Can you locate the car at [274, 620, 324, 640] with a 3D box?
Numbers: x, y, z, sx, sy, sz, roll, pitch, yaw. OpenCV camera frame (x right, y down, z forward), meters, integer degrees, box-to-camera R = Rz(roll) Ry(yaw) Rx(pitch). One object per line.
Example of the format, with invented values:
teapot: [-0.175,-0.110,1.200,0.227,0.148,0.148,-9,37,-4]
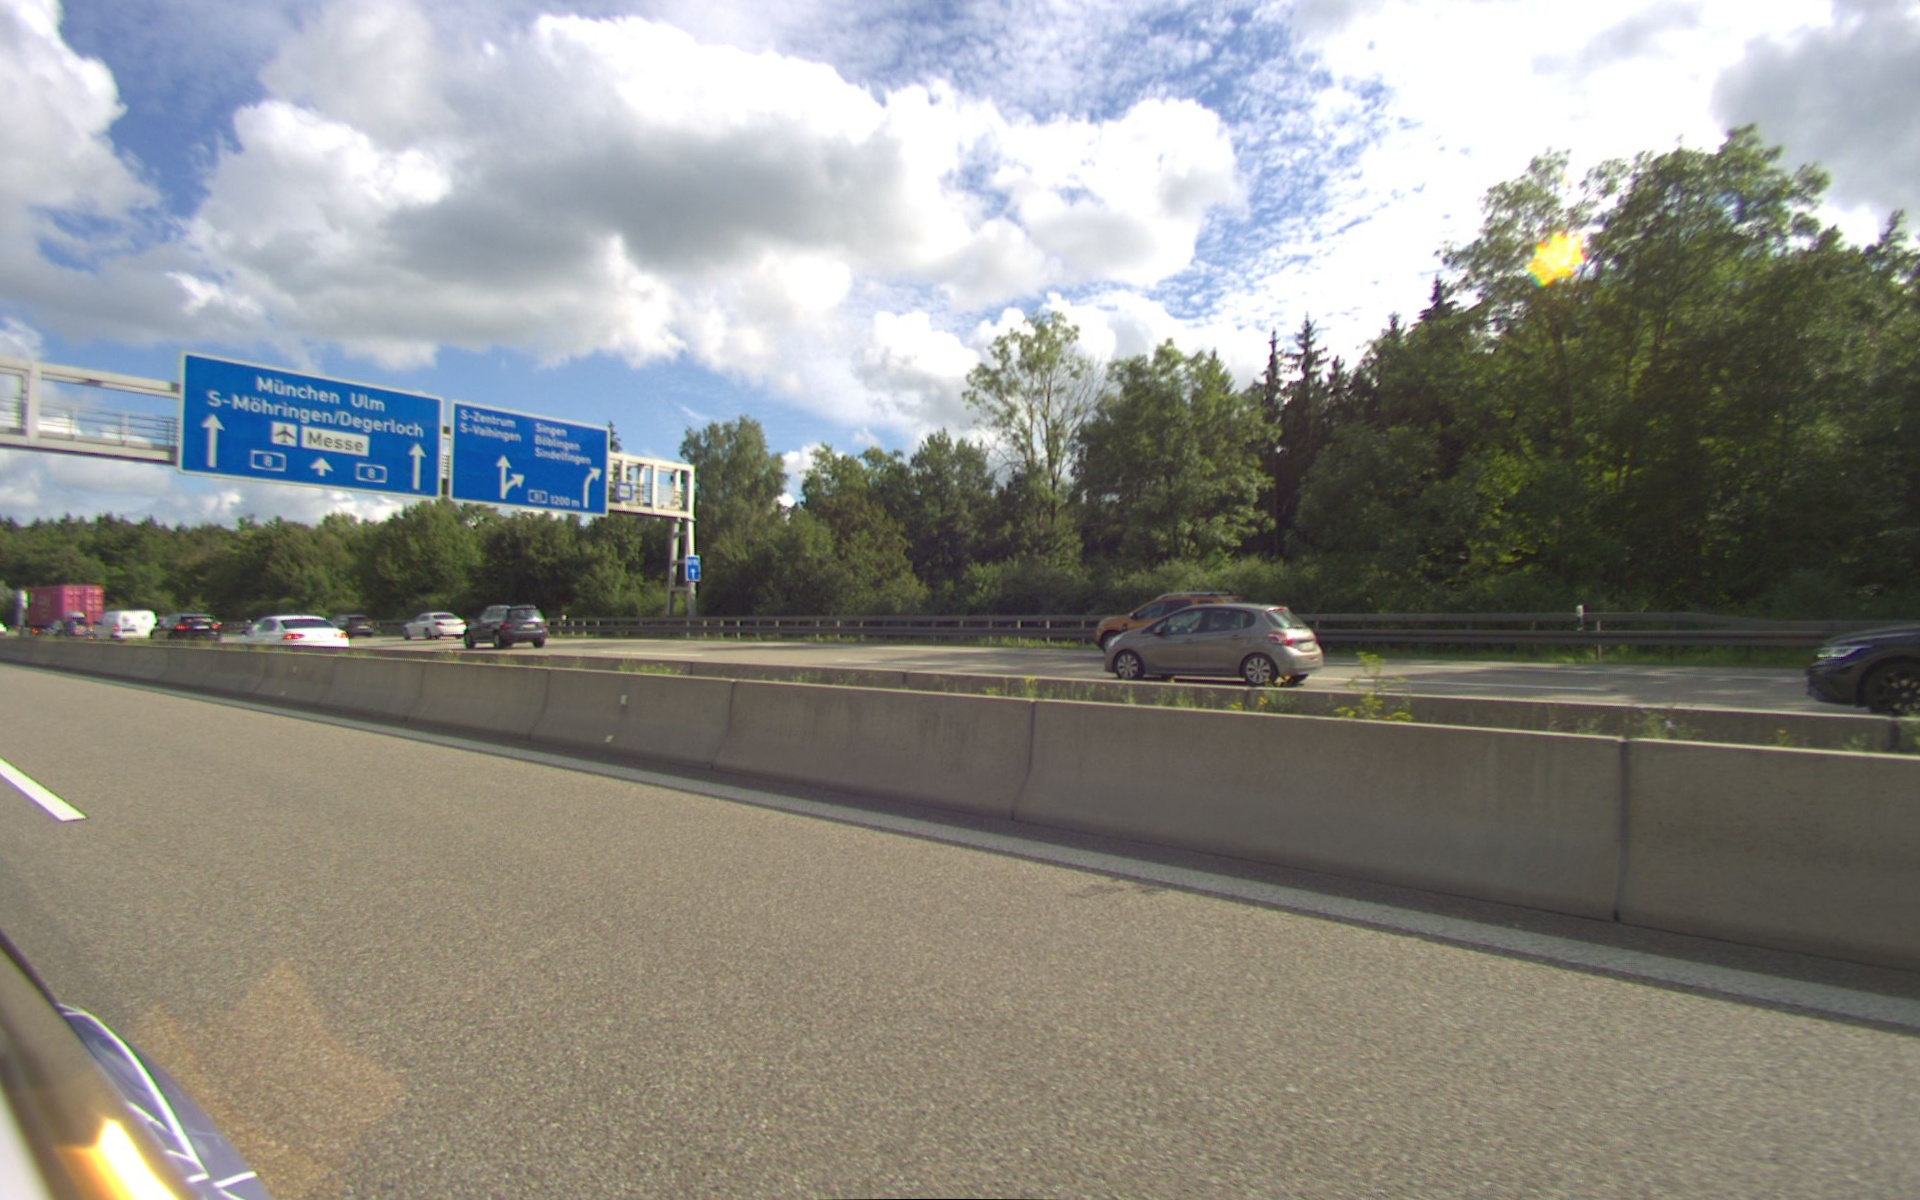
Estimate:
car: [-46.186,2.103,70.694,4.178,1.298,1.685,-1,-1,39]

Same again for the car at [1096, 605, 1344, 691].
car: [4.576,0.807,18.128,3.996,1.364,1.620,-1,-1,40]

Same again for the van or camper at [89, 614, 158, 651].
van or camper: [-45.228,1.751,54.676,5.148,1.864,1.844,-1,-1,38]

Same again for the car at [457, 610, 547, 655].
car: [-18.340,1.279,40.410,4.478,1.652,1.648,-1,-1,43]

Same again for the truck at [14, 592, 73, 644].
truck: [-75.352,1.446,83.175,5.756,4.138,2.713,-1,-1,38]

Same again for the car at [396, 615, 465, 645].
car: [-29.607,1.672,56.482,5.130,1.557,1.797,-1,-1,43]

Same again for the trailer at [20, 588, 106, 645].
trailer: [-70.353,1.312,79.208,13.398,4.138,2.713,-1,-1,38]

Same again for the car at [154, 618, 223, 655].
car: [-36.395,1.691,47.694,4.495,1.642,1.681,-1,-1,40]

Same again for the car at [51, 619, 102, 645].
car: [-55.714,2.011,63.769,4.680,1.540,1.681,-2,-1,40]

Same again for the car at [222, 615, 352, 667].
car: [-19.178,1.130,28.750,4.875,1.320,1.706,-1,-1,39]

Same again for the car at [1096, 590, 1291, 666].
car: [5.777,0.672,25.396,4.424,1.729,1.907,-1,-1,44]

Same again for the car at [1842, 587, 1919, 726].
car: [12.078,0.575,10.242,1.702,1.490,4.632,0,-1,-45]

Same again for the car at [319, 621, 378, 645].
car: [-38.331,2.049,63.385,4.702,1.451,1.685,-1,-1,39]
